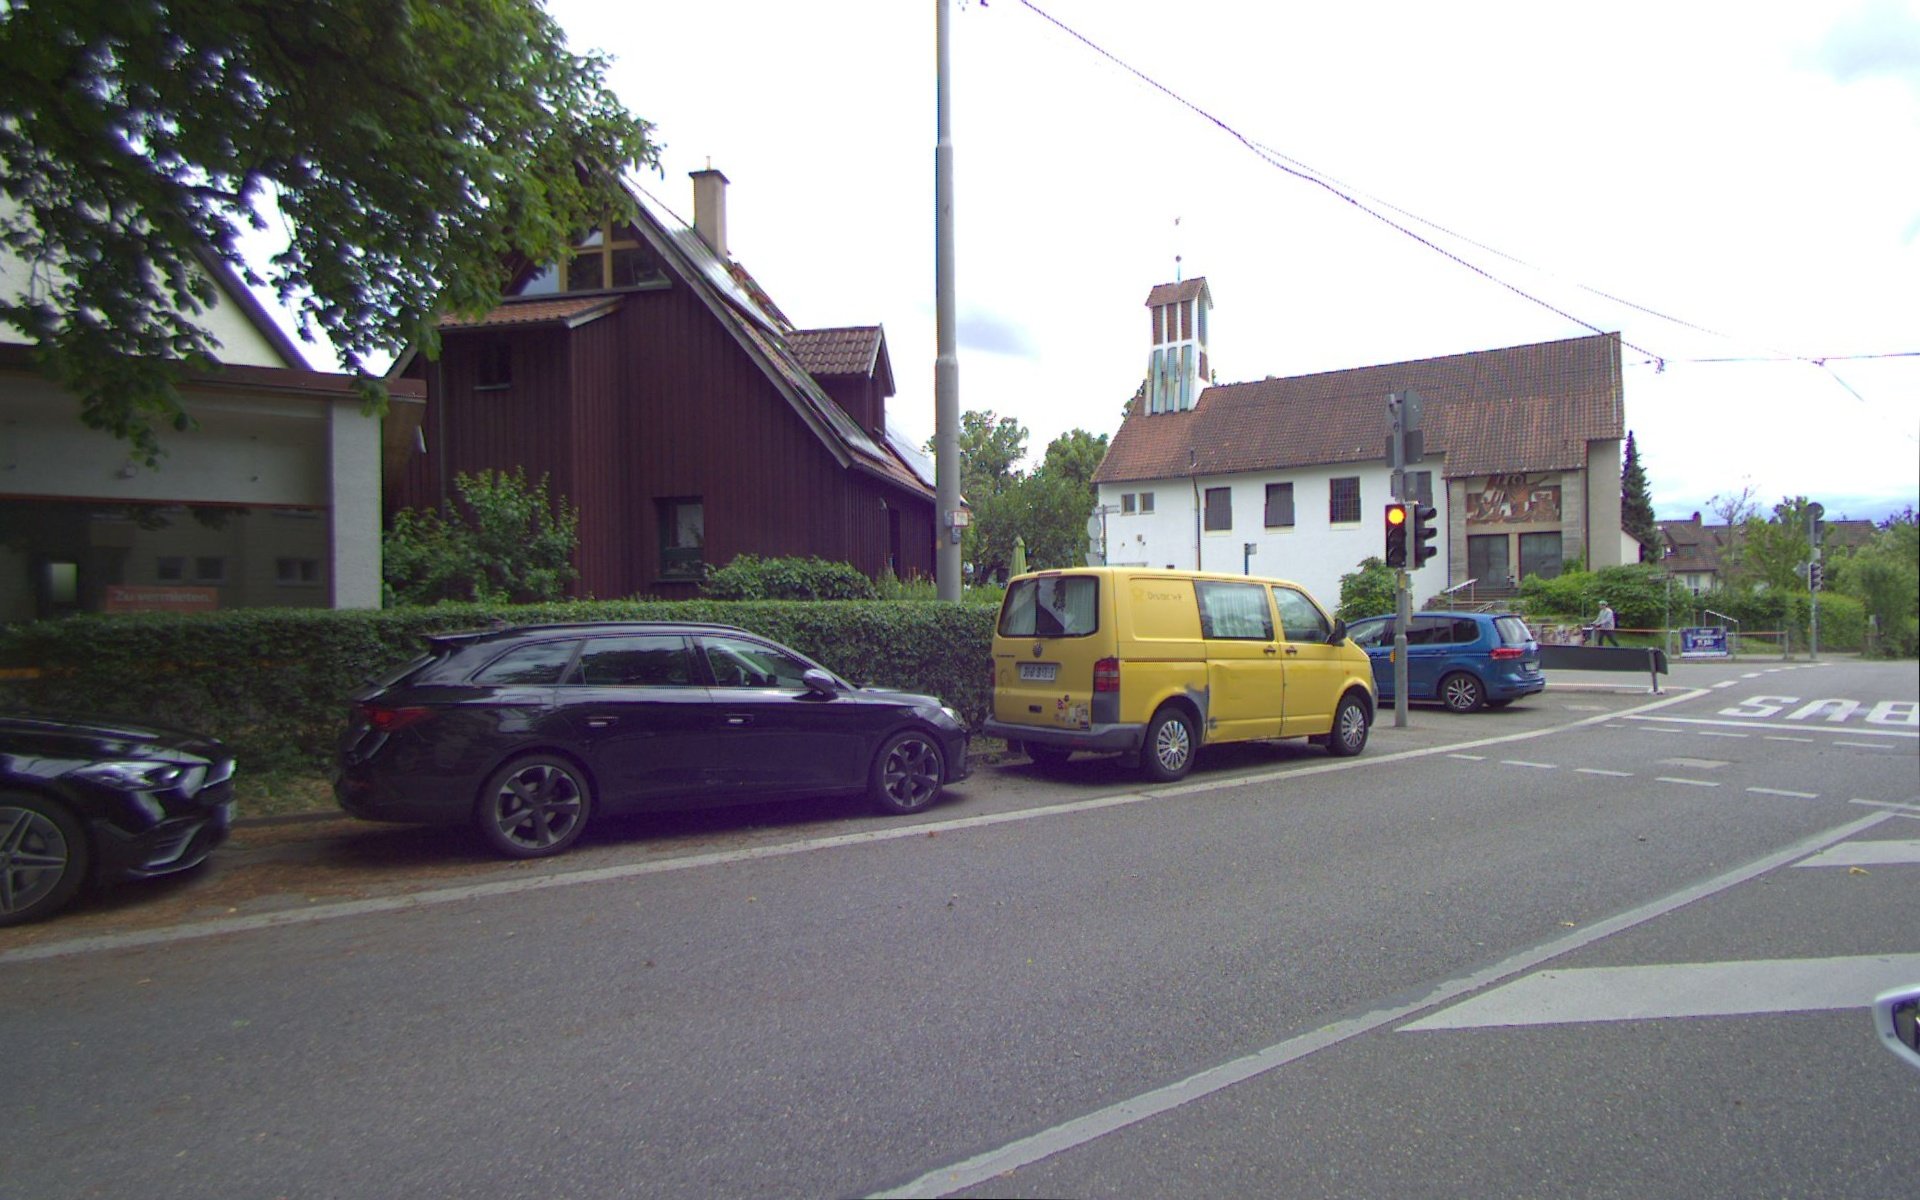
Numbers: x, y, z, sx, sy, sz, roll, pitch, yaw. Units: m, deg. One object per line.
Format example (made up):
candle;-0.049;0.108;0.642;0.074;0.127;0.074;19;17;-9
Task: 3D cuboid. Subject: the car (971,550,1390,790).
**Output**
car;2.469;0.648;10.682;4.523;2.040;1.870;1;-2;-37

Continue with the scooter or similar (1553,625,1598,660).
scooter or similar;19.646;1.342;32.075;1.089;1.095;0.578;0;-1;1

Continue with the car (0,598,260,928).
car;-6.205;0.763;4.753;4.561;1.520;1.984;1;-2;-31

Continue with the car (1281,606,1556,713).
car;7.821;0.993;17.364;1.806;1.632;3.948;1;-3;-44

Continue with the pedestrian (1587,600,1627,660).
pedestrian;20.626;0.948;32.041;0.869;1.887;0.574;0;-1;2

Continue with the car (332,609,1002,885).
car;-1.988;0.846;7.438;4.494;1.505;1.681;1;-2;-34
